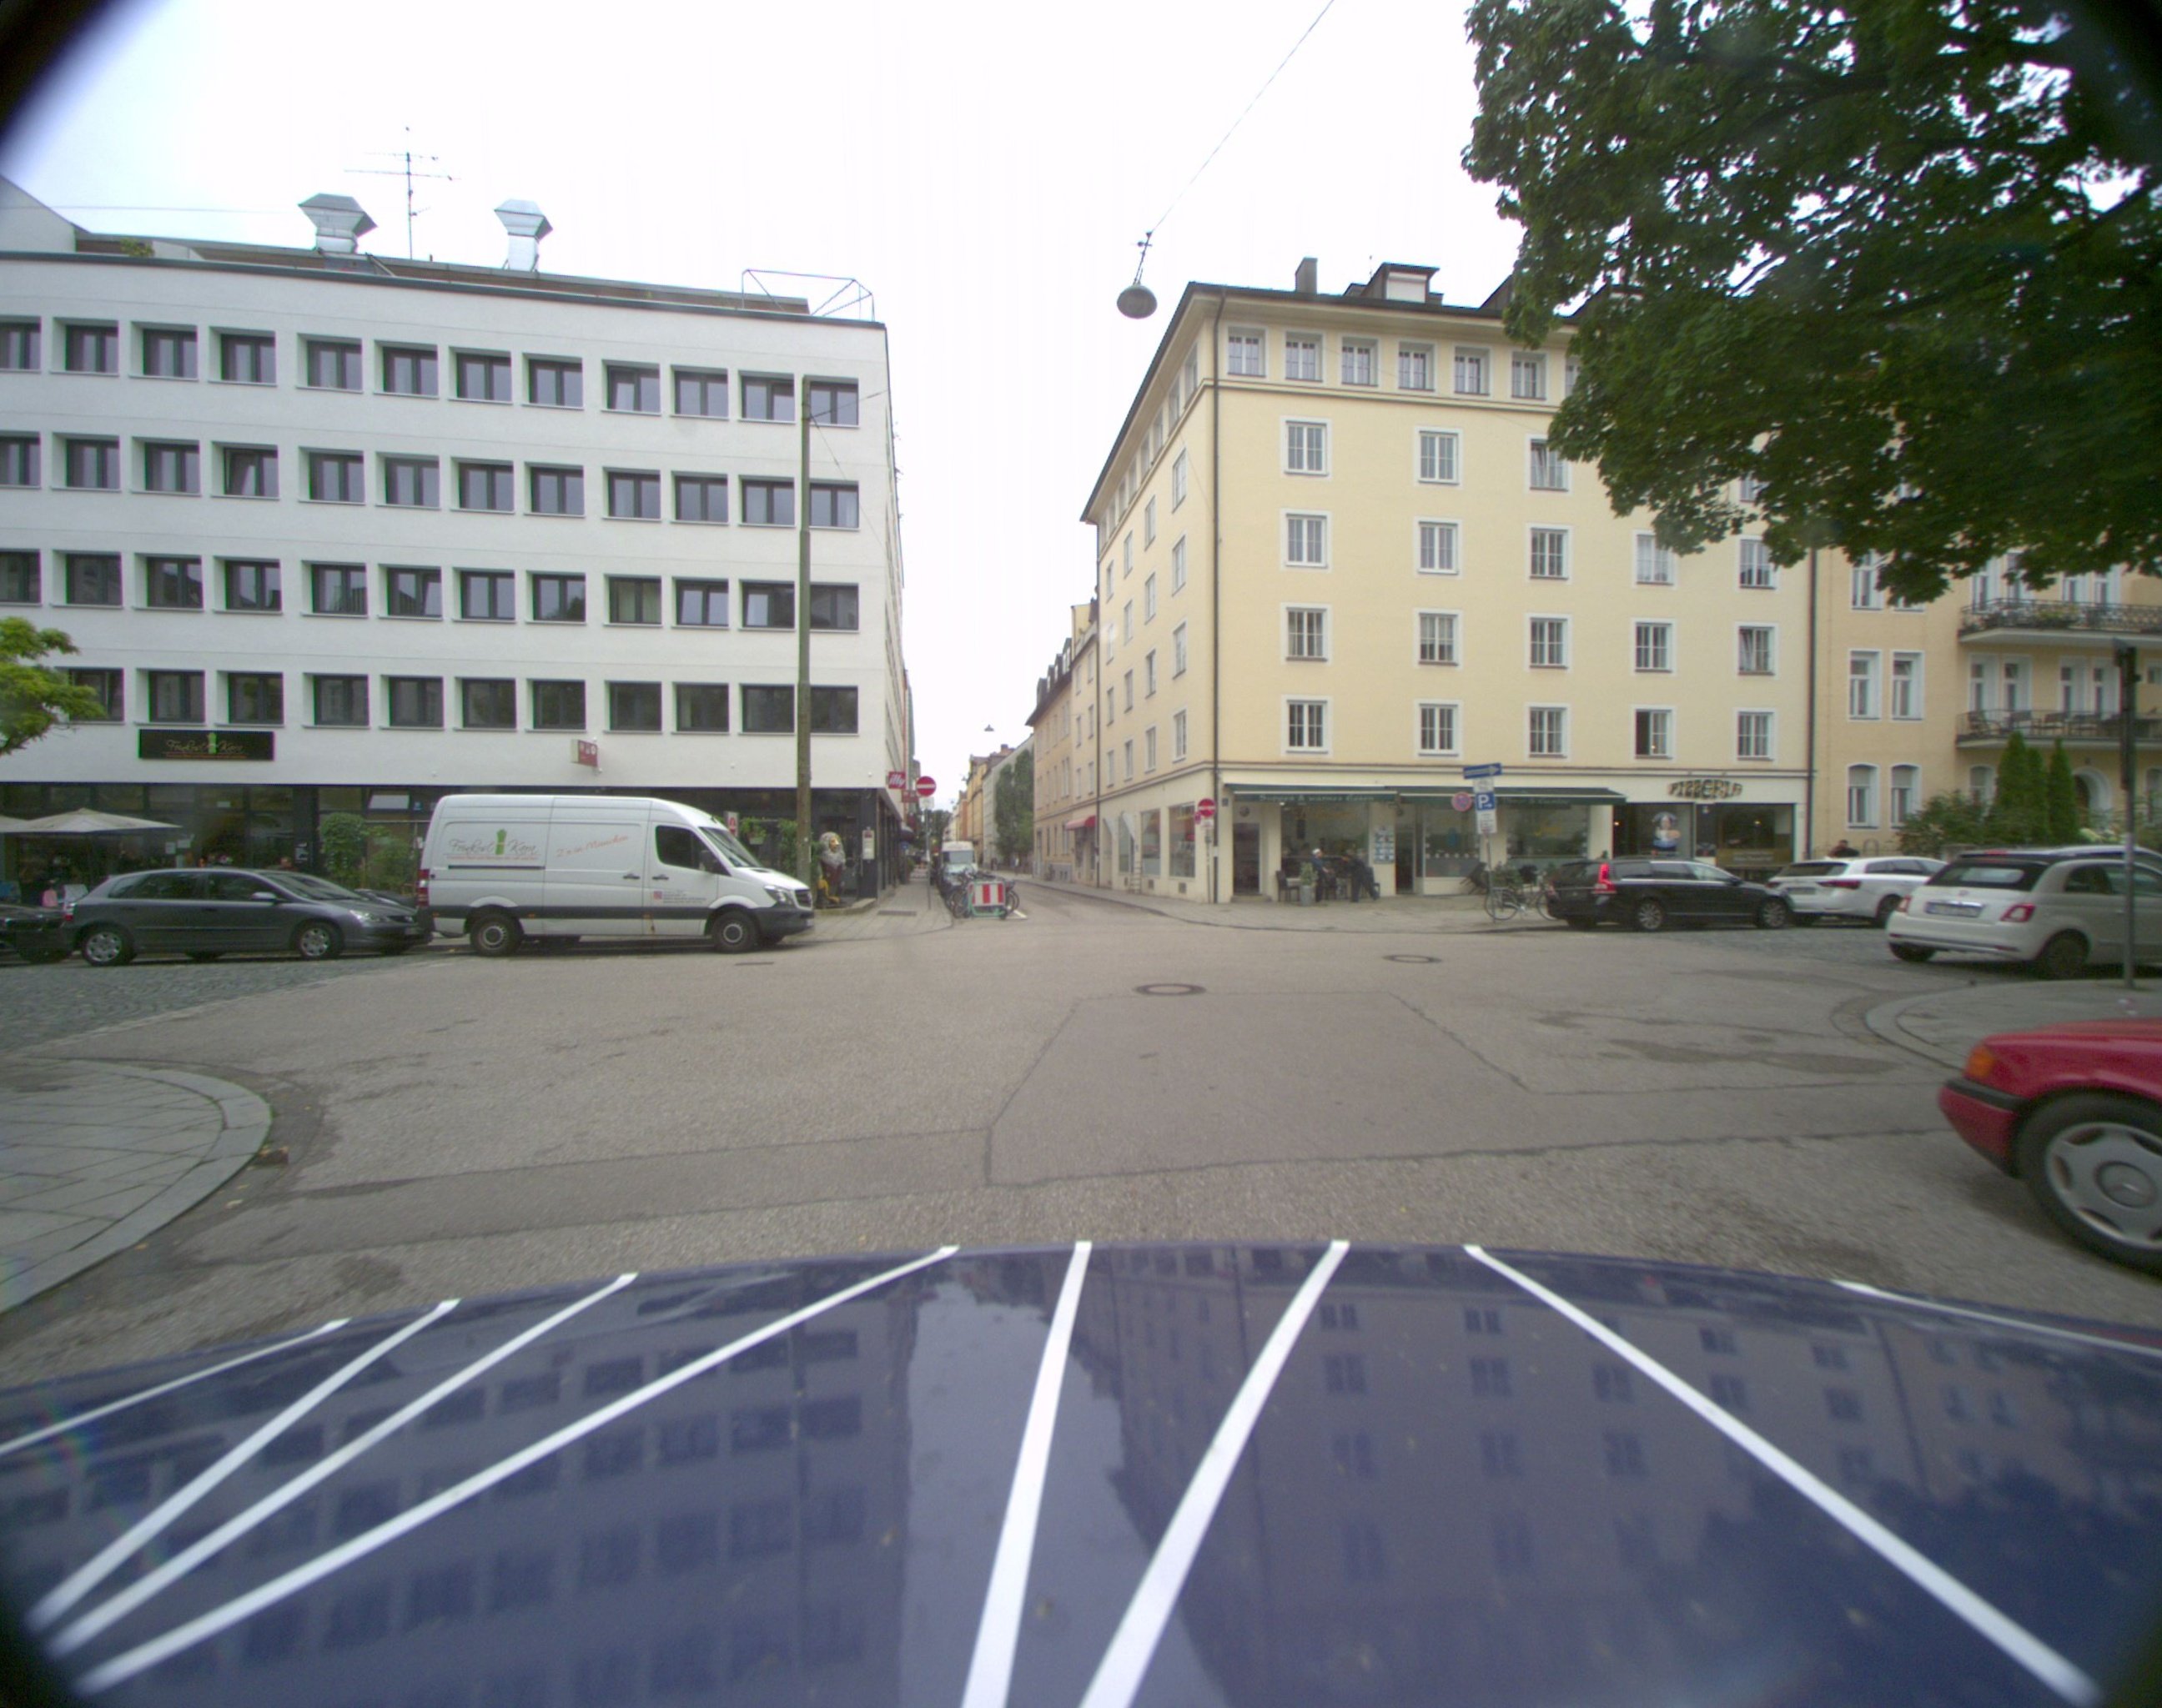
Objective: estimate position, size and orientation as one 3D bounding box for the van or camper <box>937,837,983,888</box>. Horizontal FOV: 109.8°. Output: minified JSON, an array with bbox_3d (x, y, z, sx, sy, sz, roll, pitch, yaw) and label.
[{"bbox_3d":[-6.472,0.411,40.116,1.968,2.494,5.716,0,0,-13],"label":"van or camper"}]

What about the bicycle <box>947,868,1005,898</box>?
[{"bbox_3d":[-4.118,1.130,29.842,2.206,1.139,0.695,0,1,-10],"label":"bicycle"}]

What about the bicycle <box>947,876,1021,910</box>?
[{"bbox_3d":[-2.983,1.188,23.287,2.175,0.958,0.974,0,0,-10],"label":"bicycle"}]

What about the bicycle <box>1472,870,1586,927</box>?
[{"bbox_3d":[10.280,0.999,17.539,2.149,1.195,0.811,1,1,22],"label":"bicycle"}]

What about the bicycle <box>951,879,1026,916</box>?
[{"bbox_3d":[-2.560,1.185,20.981,1.995,0.958,0.973,0,0,-10],"label":"bicycle"}]

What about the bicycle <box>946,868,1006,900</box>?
[{"bbox_3d":[-3.921,1.095,28.412,2.181,1.139,0.674,0,1,-10],"label":"bicycle"}]

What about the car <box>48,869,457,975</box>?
[{"bbox_3d":[-13.028,1.040,12.274,4.146,1.476,1.892,0,-3,-10],"label":"car"}]

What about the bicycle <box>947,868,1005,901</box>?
[{"bbox_3d":[-3.823,1.111,27.648,2.036,1.139,0.668,0,1,-10],"label":"bicycle"}]

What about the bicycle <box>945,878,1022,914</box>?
[{"bbox_3d":[-2.859,1.202,22.134,2.178,0.971,0.974,0,0,-10],"label":"bicycle"}]

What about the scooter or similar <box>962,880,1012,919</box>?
[{"bbox_3d":[-2.461,1.181,19.844,1.283,0.970,0.498,0,1,-10],"label":"scooter or similar"}]

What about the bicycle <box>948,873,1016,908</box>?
[{"bbox_3d":[-3.189,1.156,24.370,2.106,1.026,0.974,0,0,-10],"label":"bicycle"}]

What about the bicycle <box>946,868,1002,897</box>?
[{"bbox_3d":[-4.289,1.139,30.460,2.208,1.139,0.639,0,1,-10],"label":"bicycle"}]

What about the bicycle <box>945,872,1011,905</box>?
[{"bbox_3d":[-3.471,1.147,25.503,2.154,1.026,0.974,0,0,-10],"label":"bicycle"}]

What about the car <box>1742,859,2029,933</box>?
[{"bbox_3d":[17.155,0.903,16.319,4.432,1.417,2.000,0,-4,-9],"label":"car"}]

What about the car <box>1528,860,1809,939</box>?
[{"bbox_3d":[12.110,0.937,15.826,4.490,1.473,2.029,0,-4,-9],"label":"car"}]

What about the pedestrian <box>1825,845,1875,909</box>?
[{"bbox_3d":[21.965,0.626,21.707,0.781,1.779,0.855,-1,1,-31],"label":"pedestrian"}]

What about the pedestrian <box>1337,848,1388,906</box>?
[{"bbox_3d":[8.283,0.659,22.381,1.125,1.667,0.870,-1,1,-7],"label":"pedestrian"}]

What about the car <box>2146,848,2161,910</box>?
[{"bbox_3d":[28.341,0.527,17.854,4.432,1.501,2.000,0,-4,-9],"label":"car"}]

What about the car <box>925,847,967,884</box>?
[{"bbox_3d":[-8.195,0.641,45.878,2.001,2.121,3.994,-1,0,-17],"label":"car"}]

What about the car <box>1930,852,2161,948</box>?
[{"bbox_3d":[17.878,0.727,13.309,4.494,1.513,1.834,0,0,-8],"label":"car"}]

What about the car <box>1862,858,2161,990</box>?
[{"bbox_3d":[13.012,0.825,9.955,3.999,1.450,1.792,0,2,-7],"label":"car"}]

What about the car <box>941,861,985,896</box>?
[{"bbox_3d":[-5.167,1.021,33.232,1.759,1.386,3.997,0,0,-9],"label":"car"}]

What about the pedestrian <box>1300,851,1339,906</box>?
[{"bbox_3d":[7.123,0.708,22.689,0.920,1.601,0.777,0,1,32],"label":"pedestrian"}]

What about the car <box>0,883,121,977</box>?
[{"bbox_3d":[-18.005,1.161,11.544,4.169,1.381,1.795,0,-3,-6],"label":"car"}]

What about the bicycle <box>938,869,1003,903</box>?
[{"bbox_3d":[-3.904,1.102,26.822,2.209,1.139,0.739,0,0,-10],"label":"bicycle"}]

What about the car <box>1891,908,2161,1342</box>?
[{"bbox_3d":[4.437,0.940,1.130,1.685,1.385,4.479,0,0,0],"label":"car"}]

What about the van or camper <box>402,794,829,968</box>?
[{"bbox_3d":[-7.659,0.444,13.184,5.869,2.697,2.304,0,-2,-6],"label":"van or camper"}]
